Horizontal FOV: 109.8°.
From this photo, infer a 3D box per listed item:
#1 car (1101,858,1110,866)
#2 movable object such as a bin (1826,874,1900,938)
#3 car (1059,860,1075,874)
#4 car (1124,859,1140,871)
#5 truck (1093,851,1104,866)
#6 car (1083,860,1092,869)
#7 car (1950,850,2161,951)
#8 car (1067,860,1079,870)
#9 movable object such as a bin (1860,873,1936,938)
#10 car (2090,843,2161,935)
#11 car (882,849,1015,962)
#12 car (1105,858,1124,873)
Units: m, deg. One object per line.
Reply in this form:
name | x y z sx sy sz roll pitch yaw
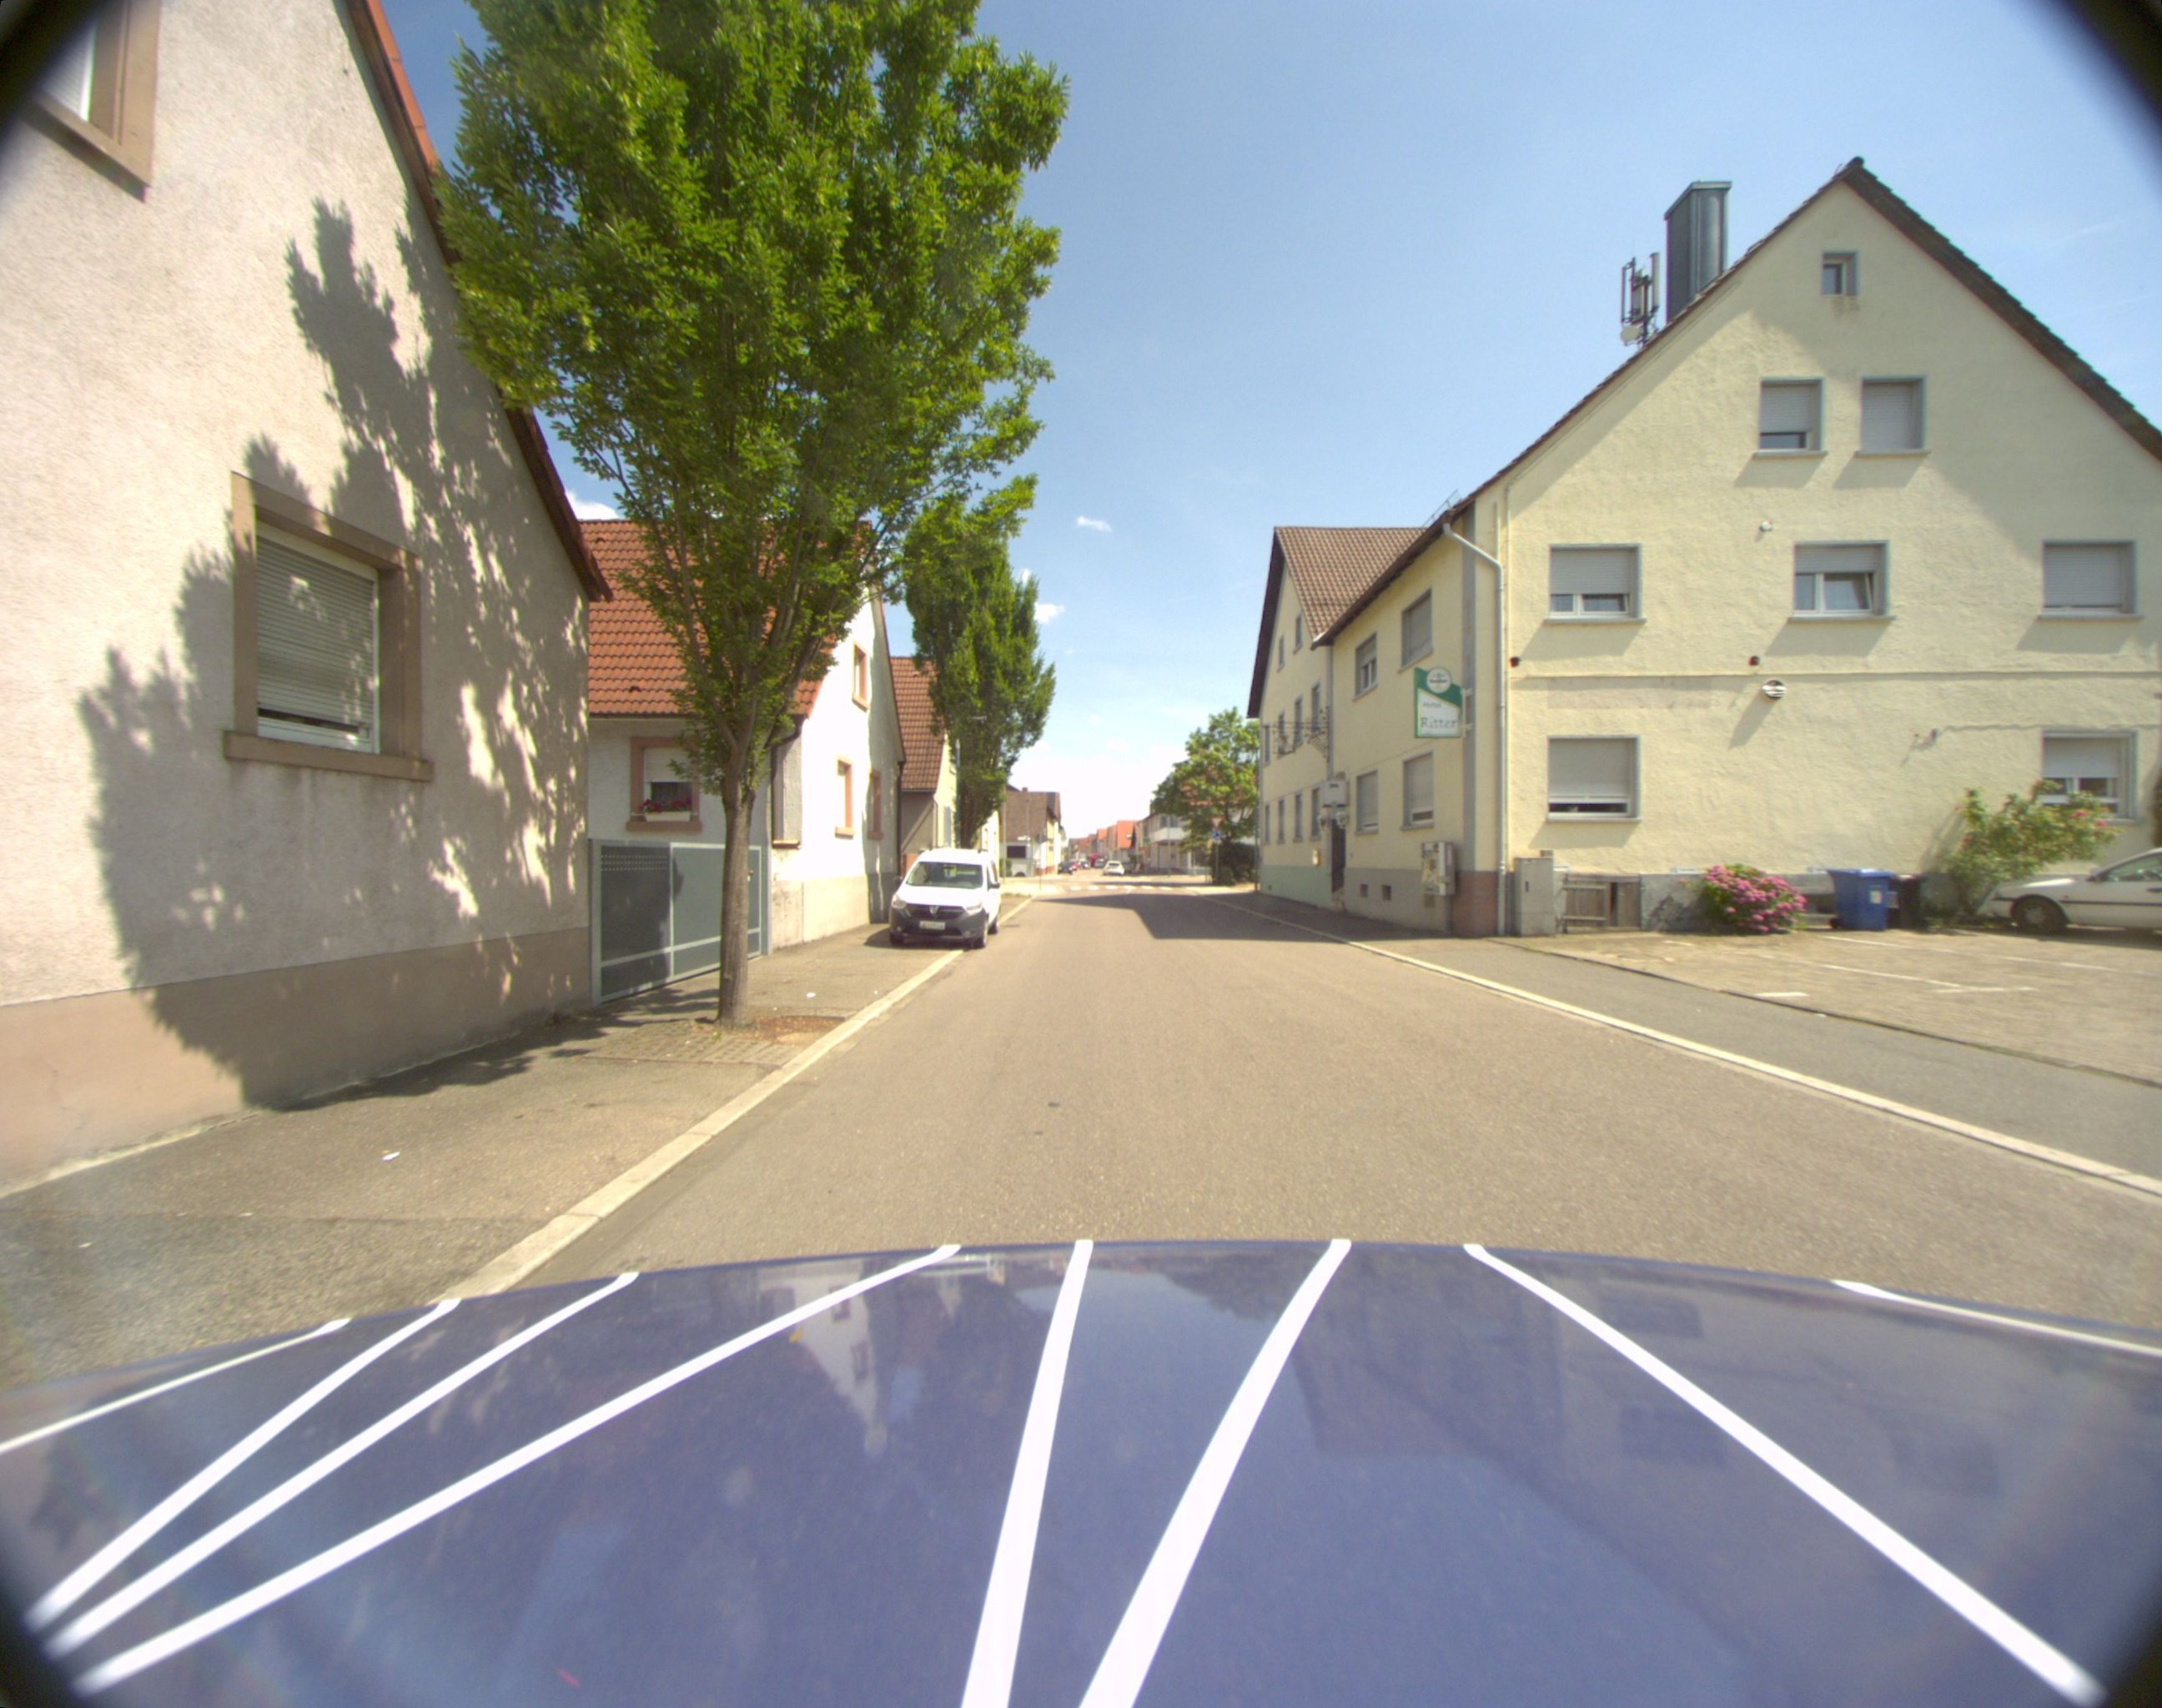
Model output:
car | 4.651 1.447 144.445 1.726 1.385 4.171 0 -2 2
movable object such as a bin | 13.556 0.890 13.185 0.579 1.066 0.680 -1 0 2
car | -1.537 1.427 82.858 1.598 1.385 4.170 0 -2 1
car | 6.276 1.378 93.640 1.726 1.385 4.171 0 -2 2
truck | 4.113 1.071 178.909 1.999 3.420 7.074 -2 0 -2
car | 1.126 1.810 132.913 1.598 1.385 4.168 -1 0 0
car | 15.874 0.642 10.687 1.828 1.372 4.830 -1 0 1
car | -1.180 1.633 111.929 1.598 1.385 4.170 0 -2 1
movable object such as a bin | 14.154 0.880 13.185 0.579 1.066 0.680 -1 0 2
car | 18.392 0.553 10.761 1.828 1.472 4.830 -1 0 1
car | -2.454 0.878 15.219 1.692 1.831 4.764 2 0 1
car | 3.313 1.143 74.144 1.597 1.385 4.170 -1 0 5
